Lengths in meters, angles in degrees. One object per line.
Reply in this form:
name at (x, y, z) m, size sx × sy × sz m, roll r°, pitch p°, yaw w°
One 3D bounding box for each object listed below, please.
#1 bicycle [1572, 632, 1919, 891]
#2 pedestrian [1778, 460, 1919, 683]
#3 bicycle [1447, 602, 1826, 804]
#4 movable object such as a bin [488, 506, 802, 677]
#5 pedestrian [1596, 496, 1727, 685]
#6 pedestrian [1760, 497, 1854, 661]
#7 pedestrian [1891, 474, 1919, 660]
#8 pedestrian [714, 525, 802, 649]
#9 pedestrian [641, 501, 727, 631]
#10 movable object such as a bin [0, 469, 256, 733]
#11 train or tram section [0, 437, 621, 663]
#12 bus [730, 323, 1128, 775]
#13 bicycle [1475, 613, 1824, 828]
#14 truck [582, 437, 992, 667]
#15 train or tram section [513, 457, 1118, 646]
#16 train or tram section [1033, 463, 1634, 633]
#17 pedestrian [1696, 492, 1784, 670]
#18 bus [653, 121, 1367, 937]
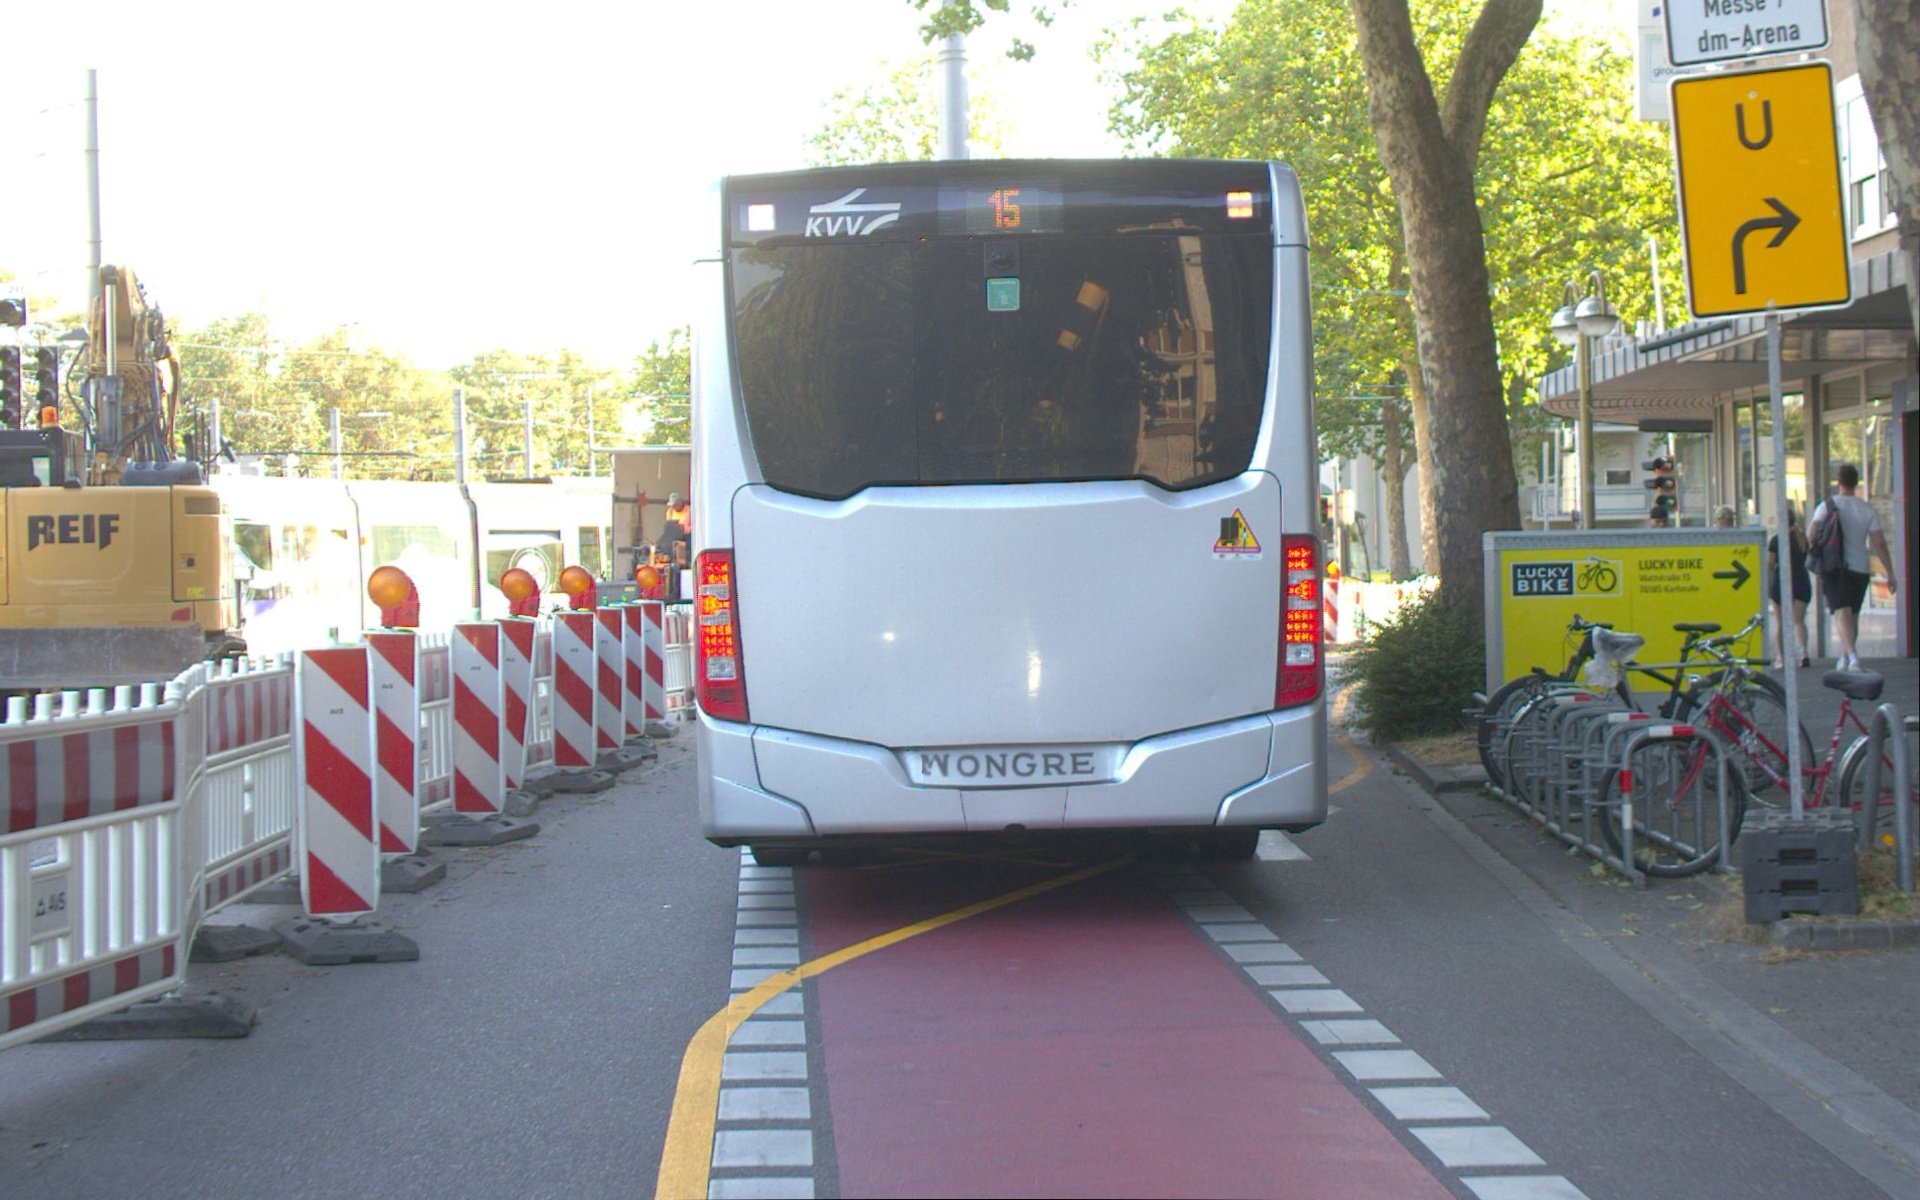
bicycle at (3.649, 0.685, 14.995) m, size 1.789 × 1.018 × 0.644 m, roll -3°, pitch 1°, yaw -4°
pedestrian at (7.891, -0.258, 30.426) m, size 0.838 × 1.863 × 1.100 m, roll -6°, pitch 1°, yaw -1°
bicycle at (3.914, 0.585, 19.982) m, size 1.986 × 1.054 × 0.771 m, roll -3°, pitch 0°, yaw -4°
movable object such as a bin at (-4.304, -0.167, 47.913) m, size 1.996 × 2.249 × 5.201 m, roll 1°, pitch 1°, yaw 25°
pedestrian at (6.582, -0.096, 32.297) m, size 0.899 × 1.704 × 1.071 m, roll -3°, pitch 1°, yaw -1°
pedestrian at (8.387, -0.214, 34.071) m, size 0.633 × 1.568 × 0.774 m, roll -4°, pitch 1°, yaw -1°
pedestrian at (9.152, -0.335, 31.243) m, size 0.899 × 1.691 × 1.071 m, roll -7°, pitch 1°, yaw 0°
pedestrian at (-2.962, -0.194, 50.523) m, size 0.973 × 1.792 × 1.069 m, roll -1°, pitch 1°, yaw 16°
pedestrian at (-4.336, -0.536, 54.038) m, size 0.937 × 2.006 × 1.000 m, roll -1°, pitch 2°, yaw 24°
movable object such as a bin at (-8.276, -0.020, 32.816) m, size 2.642 × 2.310 × 4.903 m, roll -1°, pitch 1°, yaw -7°
train or tram section at (-11.114, -0.823, 60.040) m, size 2.854 × 3.521 × 13.373 m, roll -1°, pitch 0°, yaw 31°
bus at (-0.375, -0.403, 28.443) m, size 2.708 × 3.096 × 8.980 m, roll -1°, pitch 1°, yaw -2°
bicycle at (3.708, 0.643, 18.577) m, size 1.713 × 1.054 × 0.644 m, roll -3°, pitch 1°, yaw 1°
truck at (-2.695, -0.808, 57.520) m, size 2.816 × 3.529 × 8.971 m, roll -1°, pitch 1°, yaw 26°
train or tram section at (-2.679, -0.989, 69.233) m, size 12.745 × 3.537 × 2.737 m, roll -1°, pitch 0°, yaw -36°
train or tram section at (8.272, -1.170, 75.216) m, size 13.286 × 3.507 × 2.650 m, roll -1°, pitch 0°, yaw -21°
pedestrian at (7.705, -0.187, 33.977) m, size 0.583 × 1.702 × 0.679 m, roll -4°, pitch 1°, yaw -1°
bus at (-0.002, -0.358, 18.636) m, size 2.733 × 3.128 × 10.704 m, roll -1°, pitch 1°, yaw -2°
